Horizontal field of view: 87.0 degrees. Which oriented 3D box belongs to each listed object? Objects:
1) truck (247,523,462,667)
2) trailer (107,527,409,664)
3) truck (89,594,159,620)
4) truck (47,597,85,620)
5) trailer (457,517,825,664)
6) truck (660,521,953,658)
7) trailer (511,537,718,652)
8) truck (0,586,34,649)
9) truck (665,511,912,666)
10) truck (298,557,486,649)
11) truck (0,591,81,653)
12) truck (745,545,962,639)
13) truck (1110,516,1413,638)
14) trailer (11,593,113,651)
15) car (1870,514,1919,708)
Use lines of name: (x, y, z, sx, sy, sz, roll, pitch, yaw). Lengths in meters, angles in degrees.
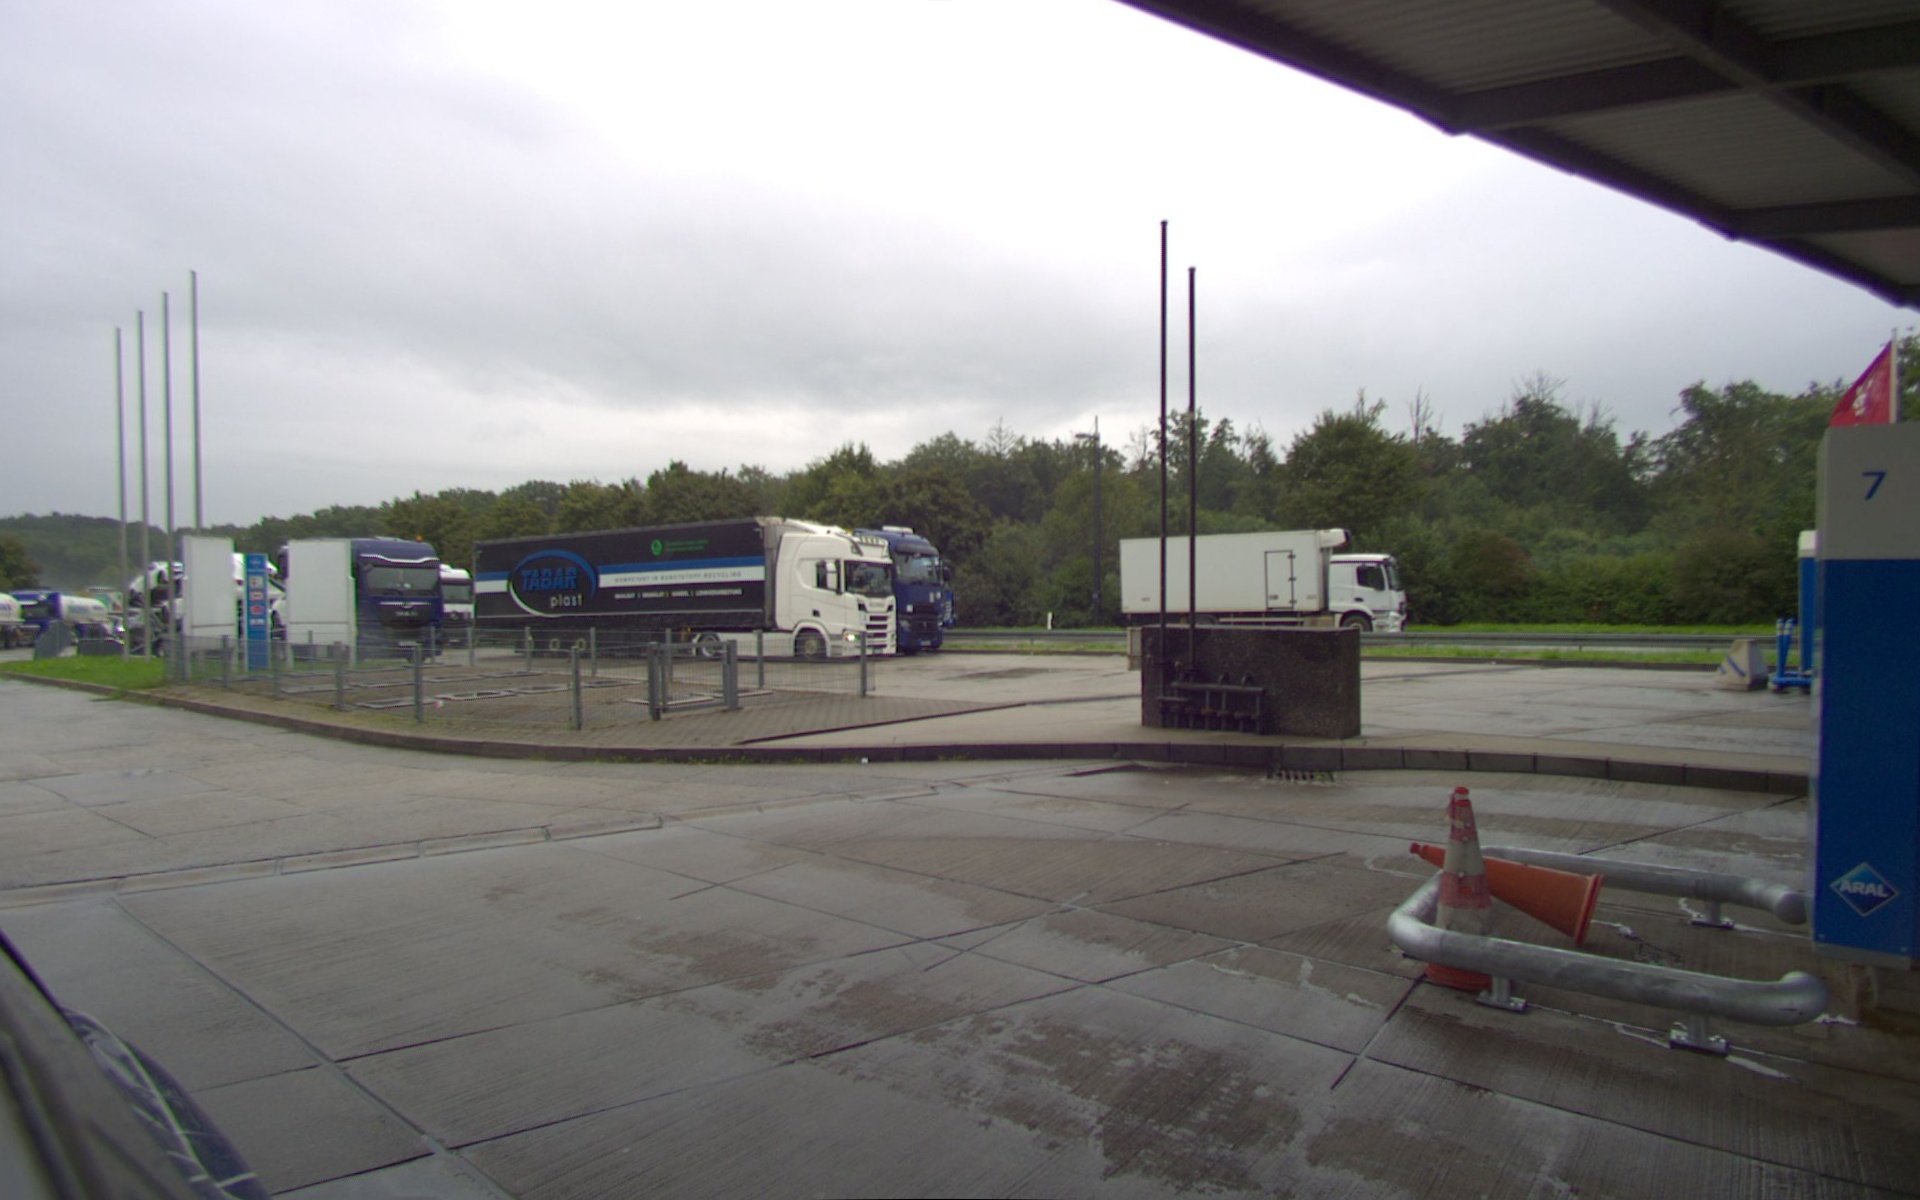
truck: (-19.004, -0.112, 31.631, 7.244, 4.063, 2.957, -1, 0, 34)
trailer: (-25.429, -0.056, 35.933, 16.563, 4.063, 2.957, -1, 0, 34)
truck: (-119.473, 1.077, 144.471, 16.515, 3.591, 3.215, -1, 0, 34)
truck: (-142.237, 1.364, 160.948, 9.306, 3.504, 2.588, -1, 0, 36)
trailer: (-10.726, -0.199, 32.765, 13.755, 4.063, 2.960, -1, 0, 31)
truck: (-5.402, -0.269, 33.966, 10.608, 4.063, 2.743, -1, 0, 33)
trailer: (-13.558, -0.165, 39.298, 8.833, 4.063, 2.743, -1, 0, 33)
truck: (-55.571, 1.017, 55.021, 3.196, 3.591, 12.013, -1, 0, -19)
truck: (-5.038, -0.272, 29.492, 6.711, 4.063, 2.963, -1, 0, 28)
truck: (-27.314, 0.177, 48.454, 10.433, 4.063, 2.961, -1, 0, 30)
truck: (-59.438, 1.370, 65.000, 3.000, 3.795, 6.486, -1, 0, -27)
truck: (-5.152, -0.318, 47.700, 10.433, 4.063, 2.961, -1, 0, 30)
truck: (11.032, -0.733, 37.683, 10.433, 4.063, 2.961, -1, 0, 30)
trailer: (-62.285, 1.433, 70.487, 2.854, 3.666, 10.605, -1, 0, -28)
car: (14.864, 0.115, 12.392, 5.272, 2.482, 2.298, -1, -2, 37)
